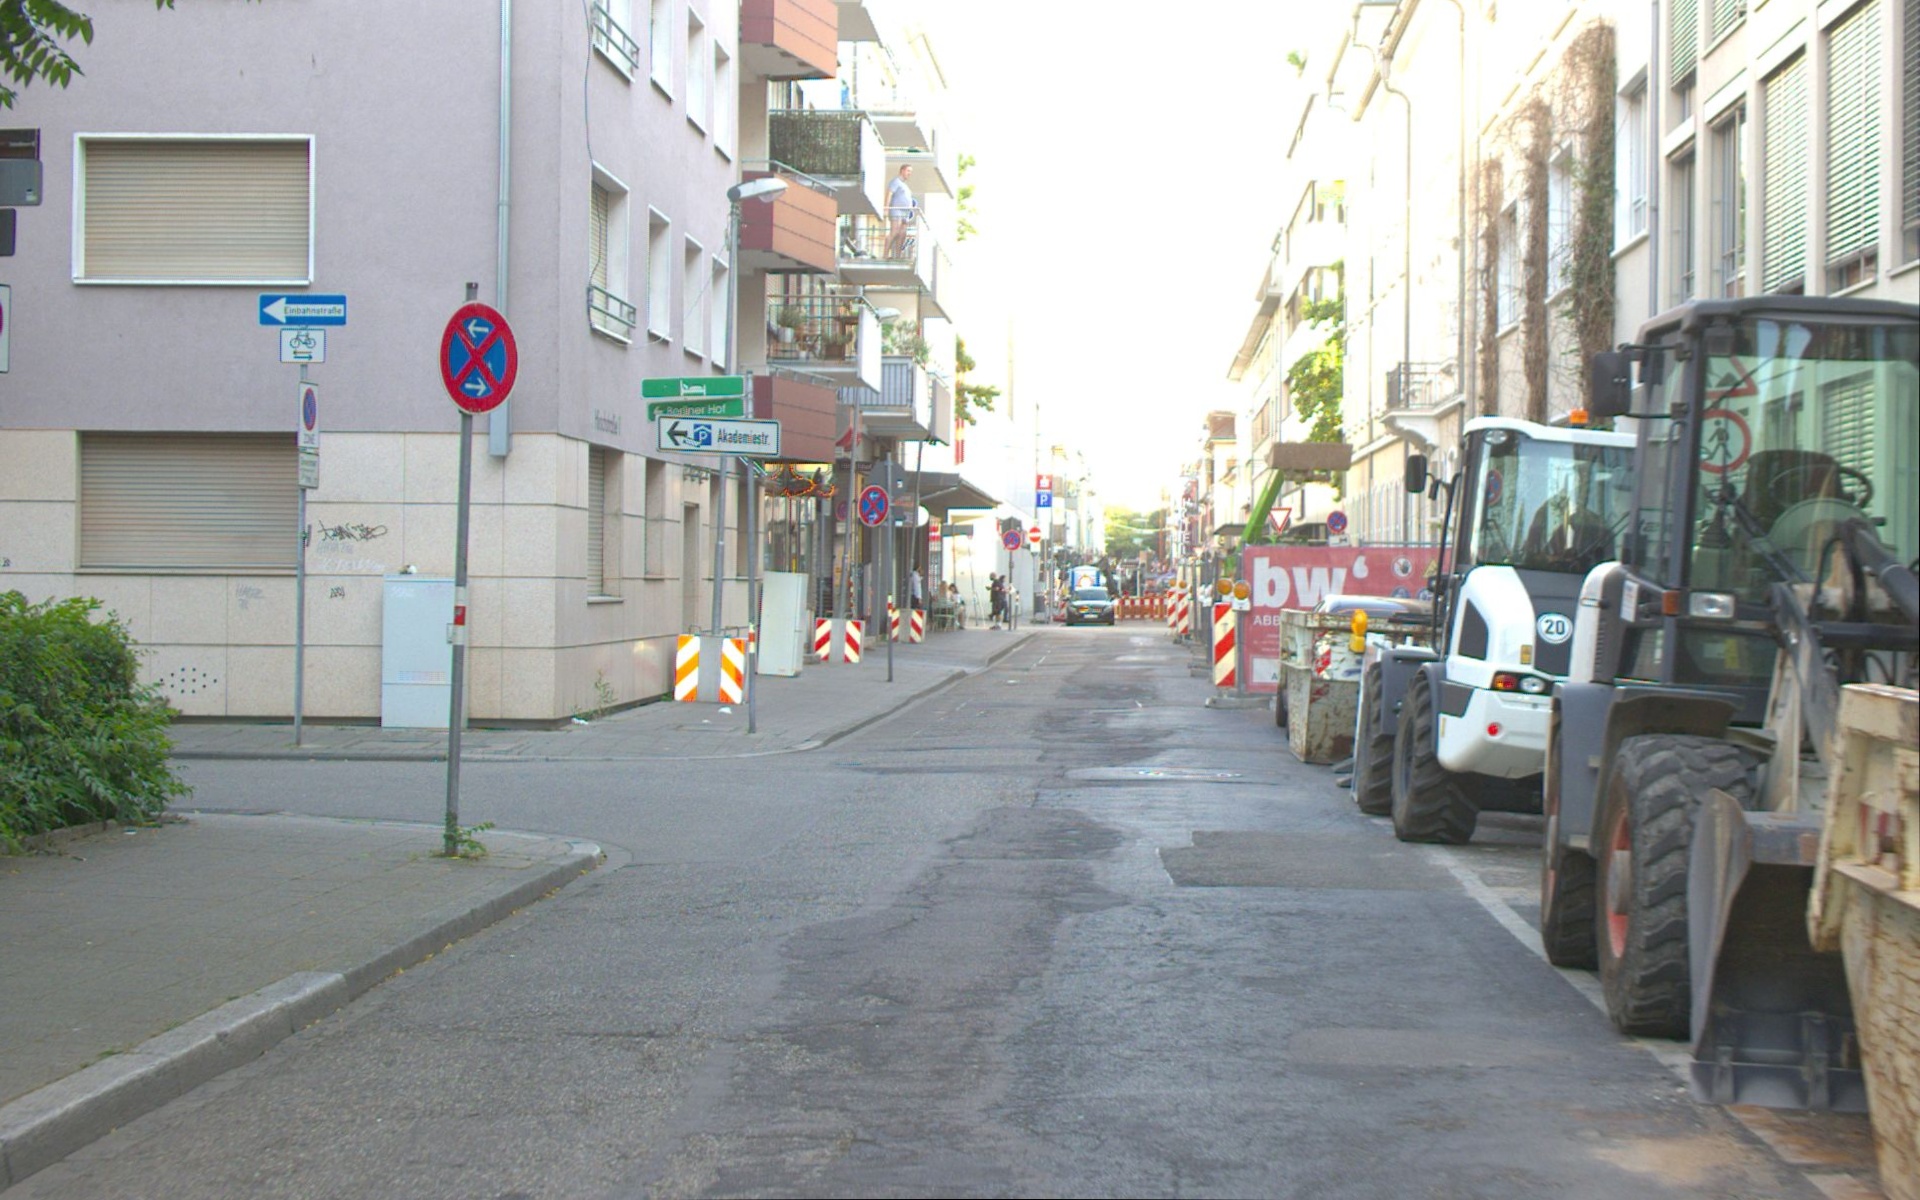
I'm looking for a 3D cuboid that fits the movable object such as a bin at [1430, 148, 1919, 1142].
[{"bbox_3d":[3.136,0.108,12.109,2.277,2.683,5.648,1,0,1],"label":"movable object such as a bin"}]

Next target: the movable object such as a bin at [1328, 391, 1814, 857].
[{"bbox_3d":[3.567,0.118,20.882,2.277,2.531,4.098,0,0,1],"label":"movable object such as a bin"}]

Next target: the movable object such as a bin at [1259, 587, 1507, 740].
[{"bbox_3d":[4.156,0.592,34.366,2.046,1.406,3.974,1,0,1],"label":"movable object such as a bin"}]

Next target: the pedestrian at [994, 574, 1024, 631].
[{"bbox_3d":[1.417,0.075,99.678,0.797,1.655,0.744,1,0,6],"label":"pedestrian"}]

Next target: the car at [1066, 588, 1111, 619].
[{"bbox_3d":[4.837,0.143,129.575,1.536,1.130,3.121,0,0,0],"label":"car"}]

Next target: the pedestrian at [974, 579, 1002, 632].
[{"bbox_3d":[0.852,0.161,104.181,0.797,1.588,0.744,1,0,2],"label":"pedestrian"}]

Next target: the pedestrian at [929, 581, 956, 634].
[{"bbox_3d":[-0.475,0.204,93.609,0.664,1.433,0.533,0,0,7],"label":"pedestrian"}]
